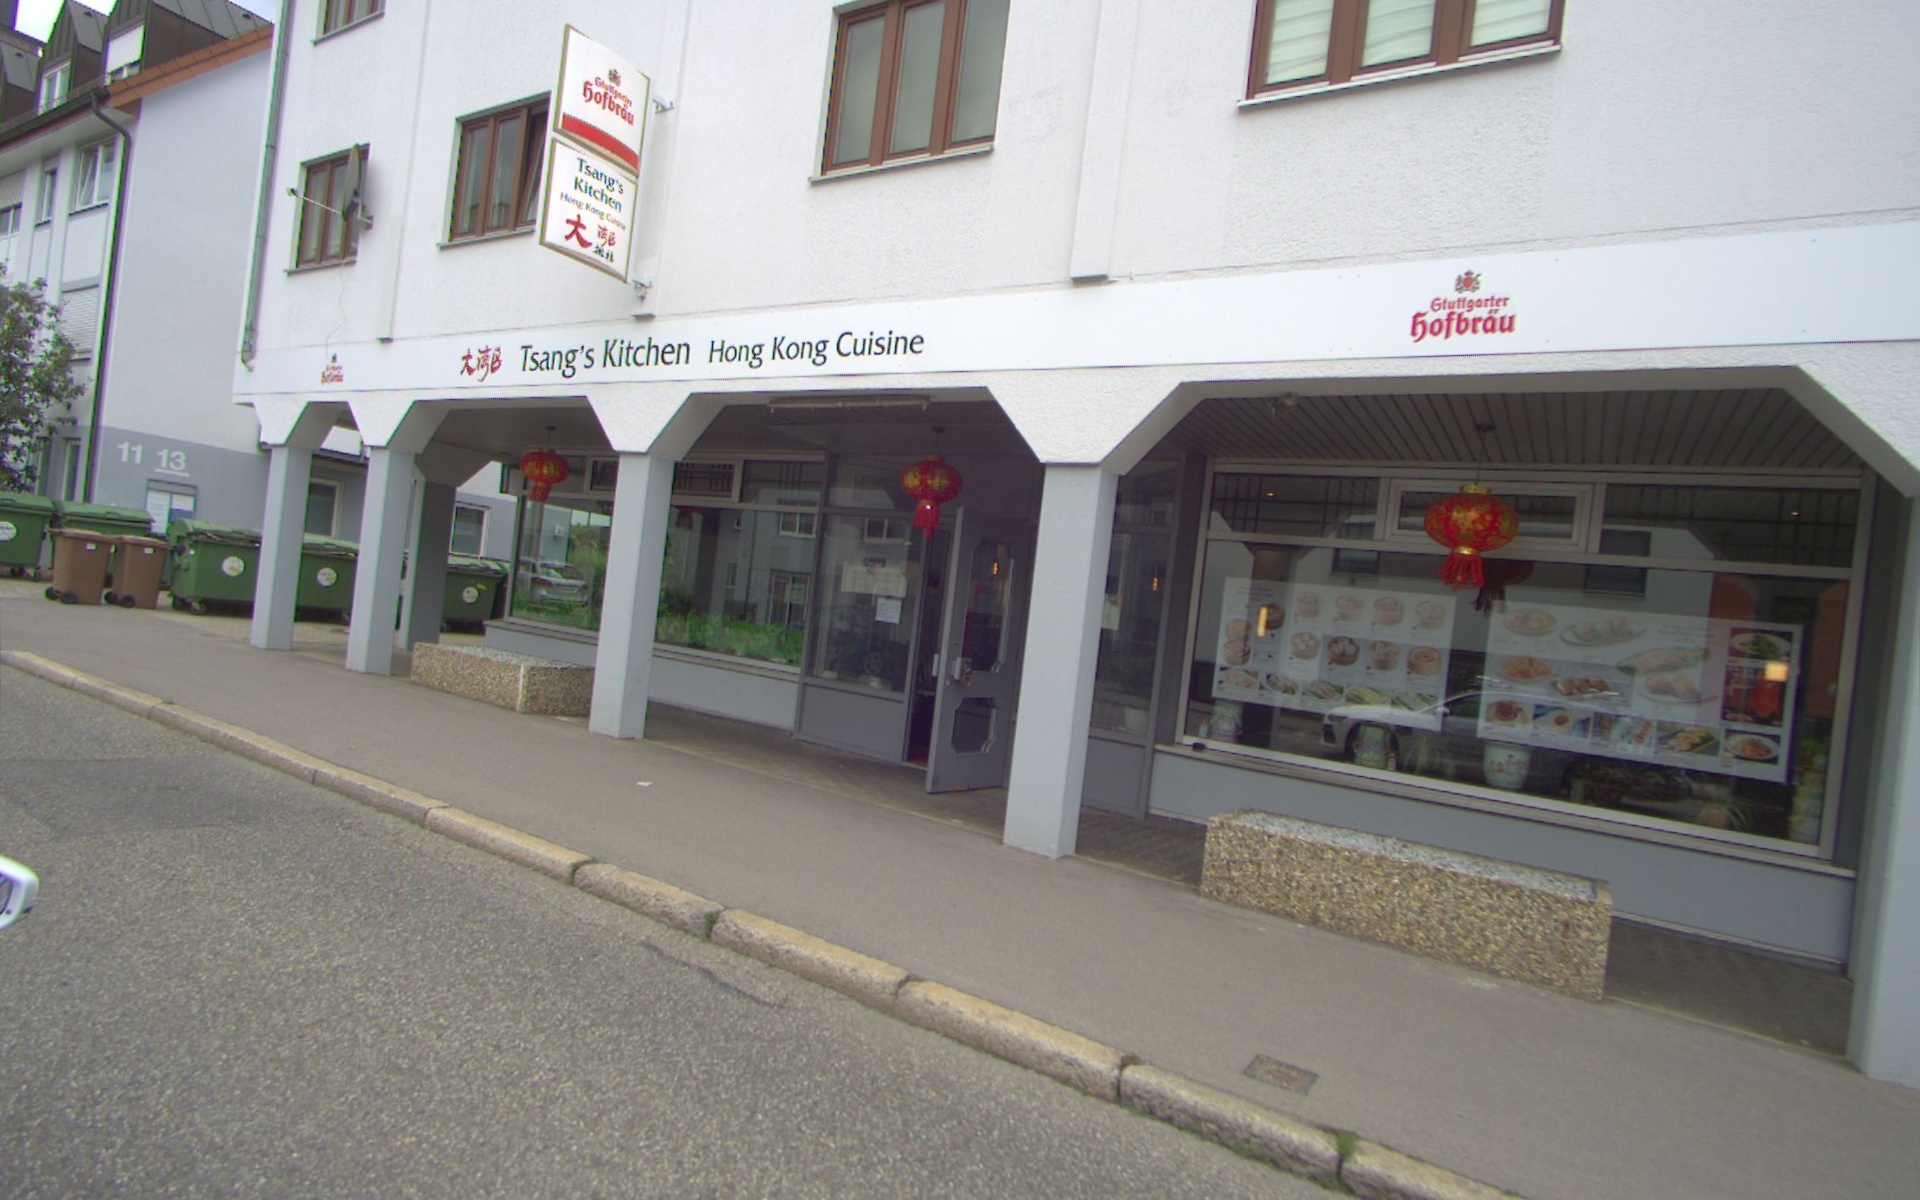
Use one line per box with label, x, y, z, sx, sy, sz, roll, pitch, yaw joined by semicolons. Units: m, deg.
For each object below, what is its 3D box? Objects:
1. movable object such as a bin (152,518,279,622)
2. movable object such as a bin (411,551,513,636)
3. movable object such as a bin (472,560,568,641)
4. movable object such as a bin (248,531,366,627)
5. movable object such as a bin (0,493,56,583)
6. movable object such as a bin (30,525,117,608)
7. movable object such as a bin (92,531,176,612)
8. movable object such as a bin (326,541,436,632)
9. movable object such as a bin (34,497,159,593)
movable object such as a bin;-11.938;-0.479;16.141;1.239;1.434;1.210;7;0;35
movable object such as a bin;-9.729;-0.119;19.650;1.239;1.434;1.210;7;0;35
movable object such as a bin;-9.035;0.012;20.681;1.239;1.434;1.210;7;0;35
movable object such as a bin;-11.222;-0.357;17.297;1.239;1.434;1.210;7;0;35
movable object such as a bin;-16.349;-1.110;16.957;1.143;1.434;1.269;7;0;32
movable object such as a bin;-13.136;-0.502;14.901;0.956;1.080;0.684;7;0;36
movable object such as a bin;-12.738;-0.440;15.511;0.956;1.092;0.698;7;0;35
movable object such as a bin;-10.550;-0.241;18.357;1.239;1.434;1.210;7;0;35
movable object such as a bin;-15.409;-0.969;17.963;1.286;1.452;1.269;7;0;32
